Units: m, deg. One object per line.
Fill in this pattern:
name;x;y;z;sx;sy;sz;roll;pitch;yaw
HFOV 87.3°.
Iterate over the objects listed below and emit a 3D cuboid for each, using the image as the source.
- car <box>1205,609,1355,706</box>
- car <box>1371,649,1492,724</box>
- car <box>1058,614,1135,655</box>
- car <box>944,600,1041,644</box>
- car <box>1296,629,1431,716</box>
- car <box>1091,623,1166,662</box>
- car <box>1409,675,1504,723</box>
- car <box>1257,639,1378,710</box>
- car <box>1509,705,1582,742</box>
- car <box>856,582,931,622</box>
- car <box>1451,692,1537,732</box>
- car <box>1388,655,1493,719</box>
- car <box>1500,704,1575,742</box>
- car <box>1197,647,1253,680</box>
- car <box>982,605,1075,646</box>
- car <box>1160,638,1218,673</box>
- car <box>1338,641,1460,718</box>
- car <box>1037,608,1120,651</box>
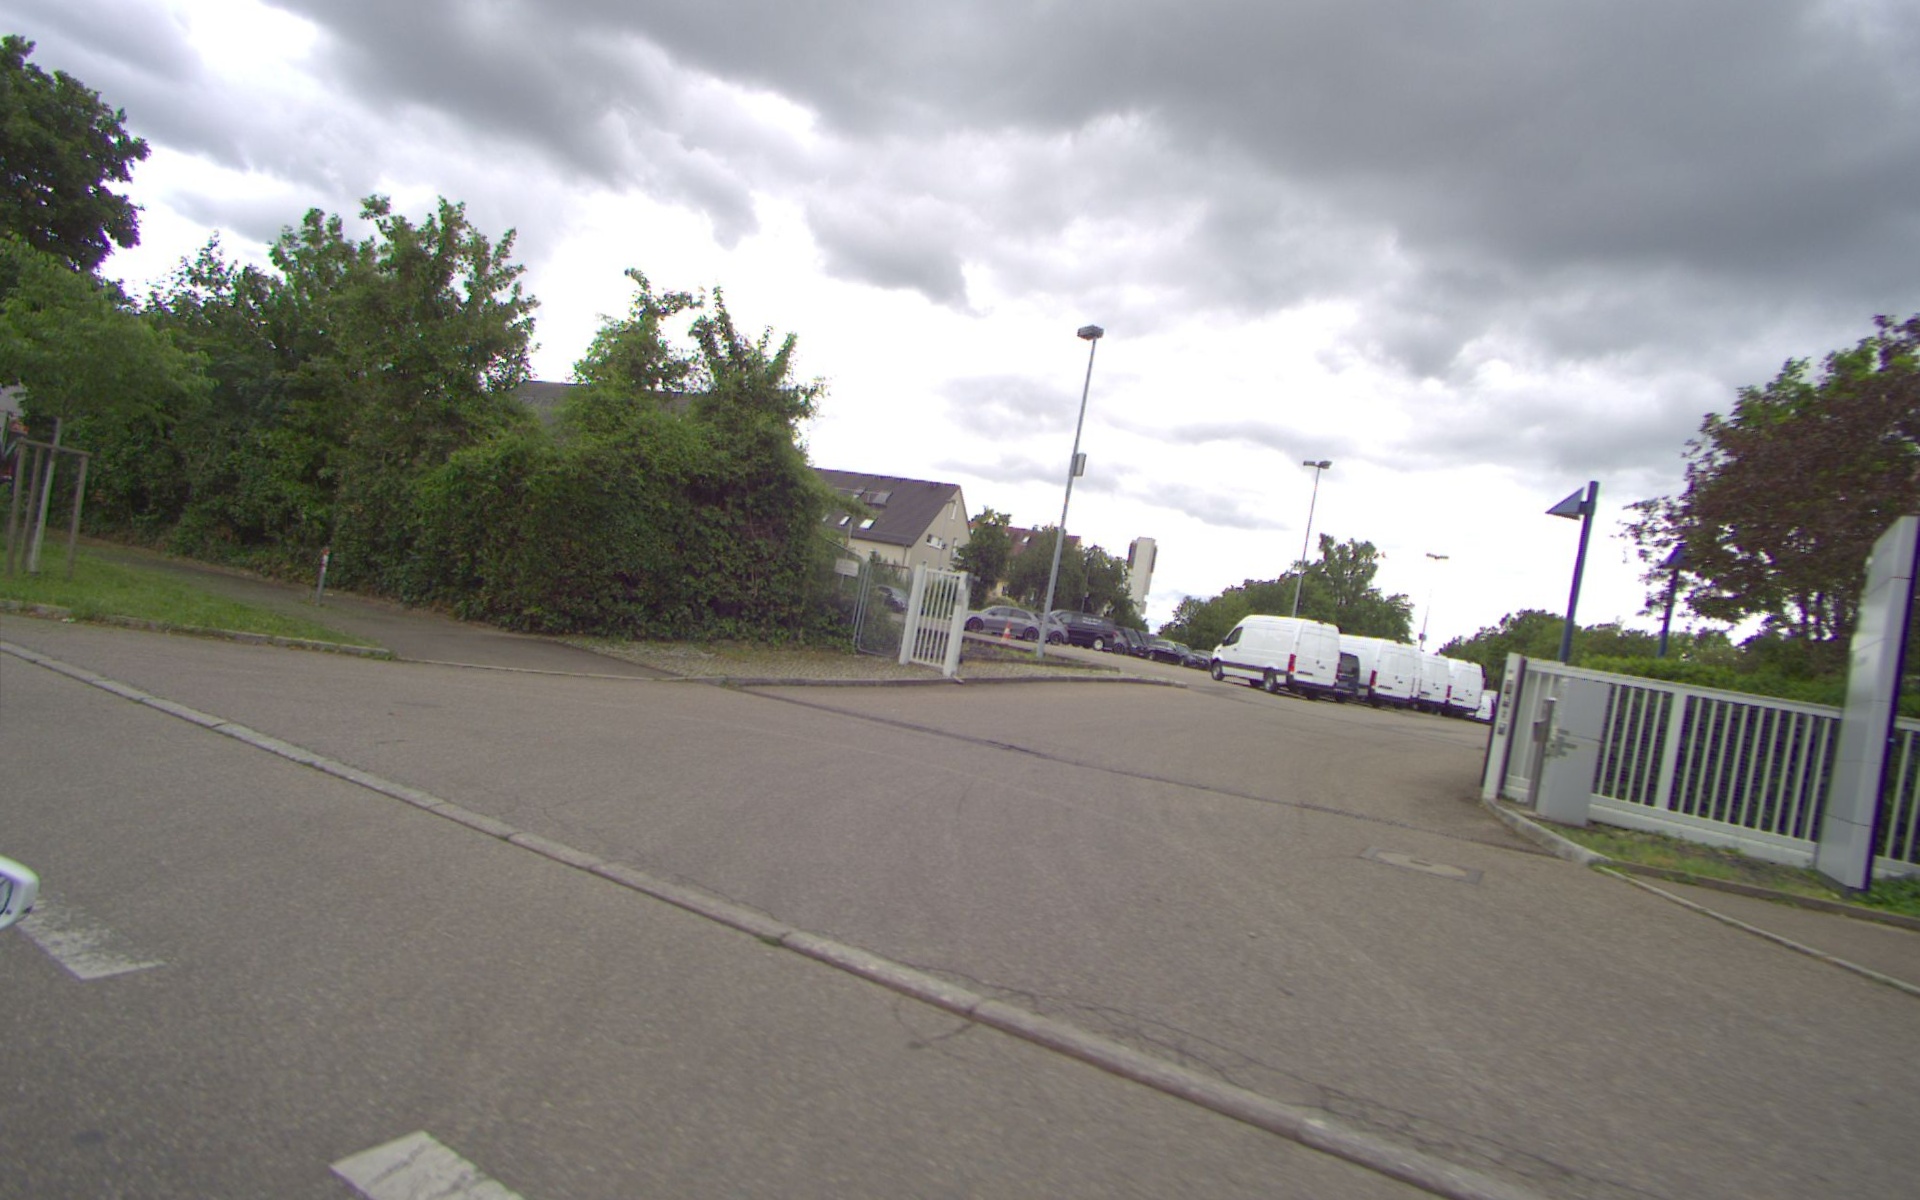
car;11.435;1.987;36.498;2.229;2.709;5.430;9;0;-15
car;22.661;4.088;48.650;2.226;2.709;5.438;9;0;-10
car;7.997;2.042;59.133;3.985;1.770;1.933;9;-2;-5
car;1.473;1.018;46.563;3.978;1.383;1.996;10;-3;-14
car;16.239;2.824;40.890;2.226;2.709;5.438;9;0;-10
car;10.322;2.601;61.781;3.985;1.770;1.933;9;-2;-4
car;30.724;6.085;62.479;2.226;2.053;5.438;9;0;-10
car;13.603;2.788;38.653;2.033;1.979;4.486;9;0;-13
car;50.544;10.650;87.052;2.226;2.053;5.438;9;0;-10
car;-3.954;0.116;59.370;4.023;1.770;1.796;7;-3;35
car;37.153;7.787;70.188;2.225;1.839;5.438;7;0;-10
car;26.793;4.798;56.351;2.226;2.709;5.438;9;0;-10
car;48.088;10.227;83.945;2.226;2.053;5.438;9;0;-10
car;17.213;4.117;65.528;1.900;1.770;4.054;9;-3;-7
car;3.354;1.262;49.688;4.097;1.383;1.900;10;-3;-14
car;13.804;3.339;60.940;1.900;1.770;4.054;9;-3;-7
car;20.302;3.626;46.859;2.226;2.709;5.438;9;0;-10
car;6.561;1.640;55.789;3.994;1.770;1.929;10;-2;-14
